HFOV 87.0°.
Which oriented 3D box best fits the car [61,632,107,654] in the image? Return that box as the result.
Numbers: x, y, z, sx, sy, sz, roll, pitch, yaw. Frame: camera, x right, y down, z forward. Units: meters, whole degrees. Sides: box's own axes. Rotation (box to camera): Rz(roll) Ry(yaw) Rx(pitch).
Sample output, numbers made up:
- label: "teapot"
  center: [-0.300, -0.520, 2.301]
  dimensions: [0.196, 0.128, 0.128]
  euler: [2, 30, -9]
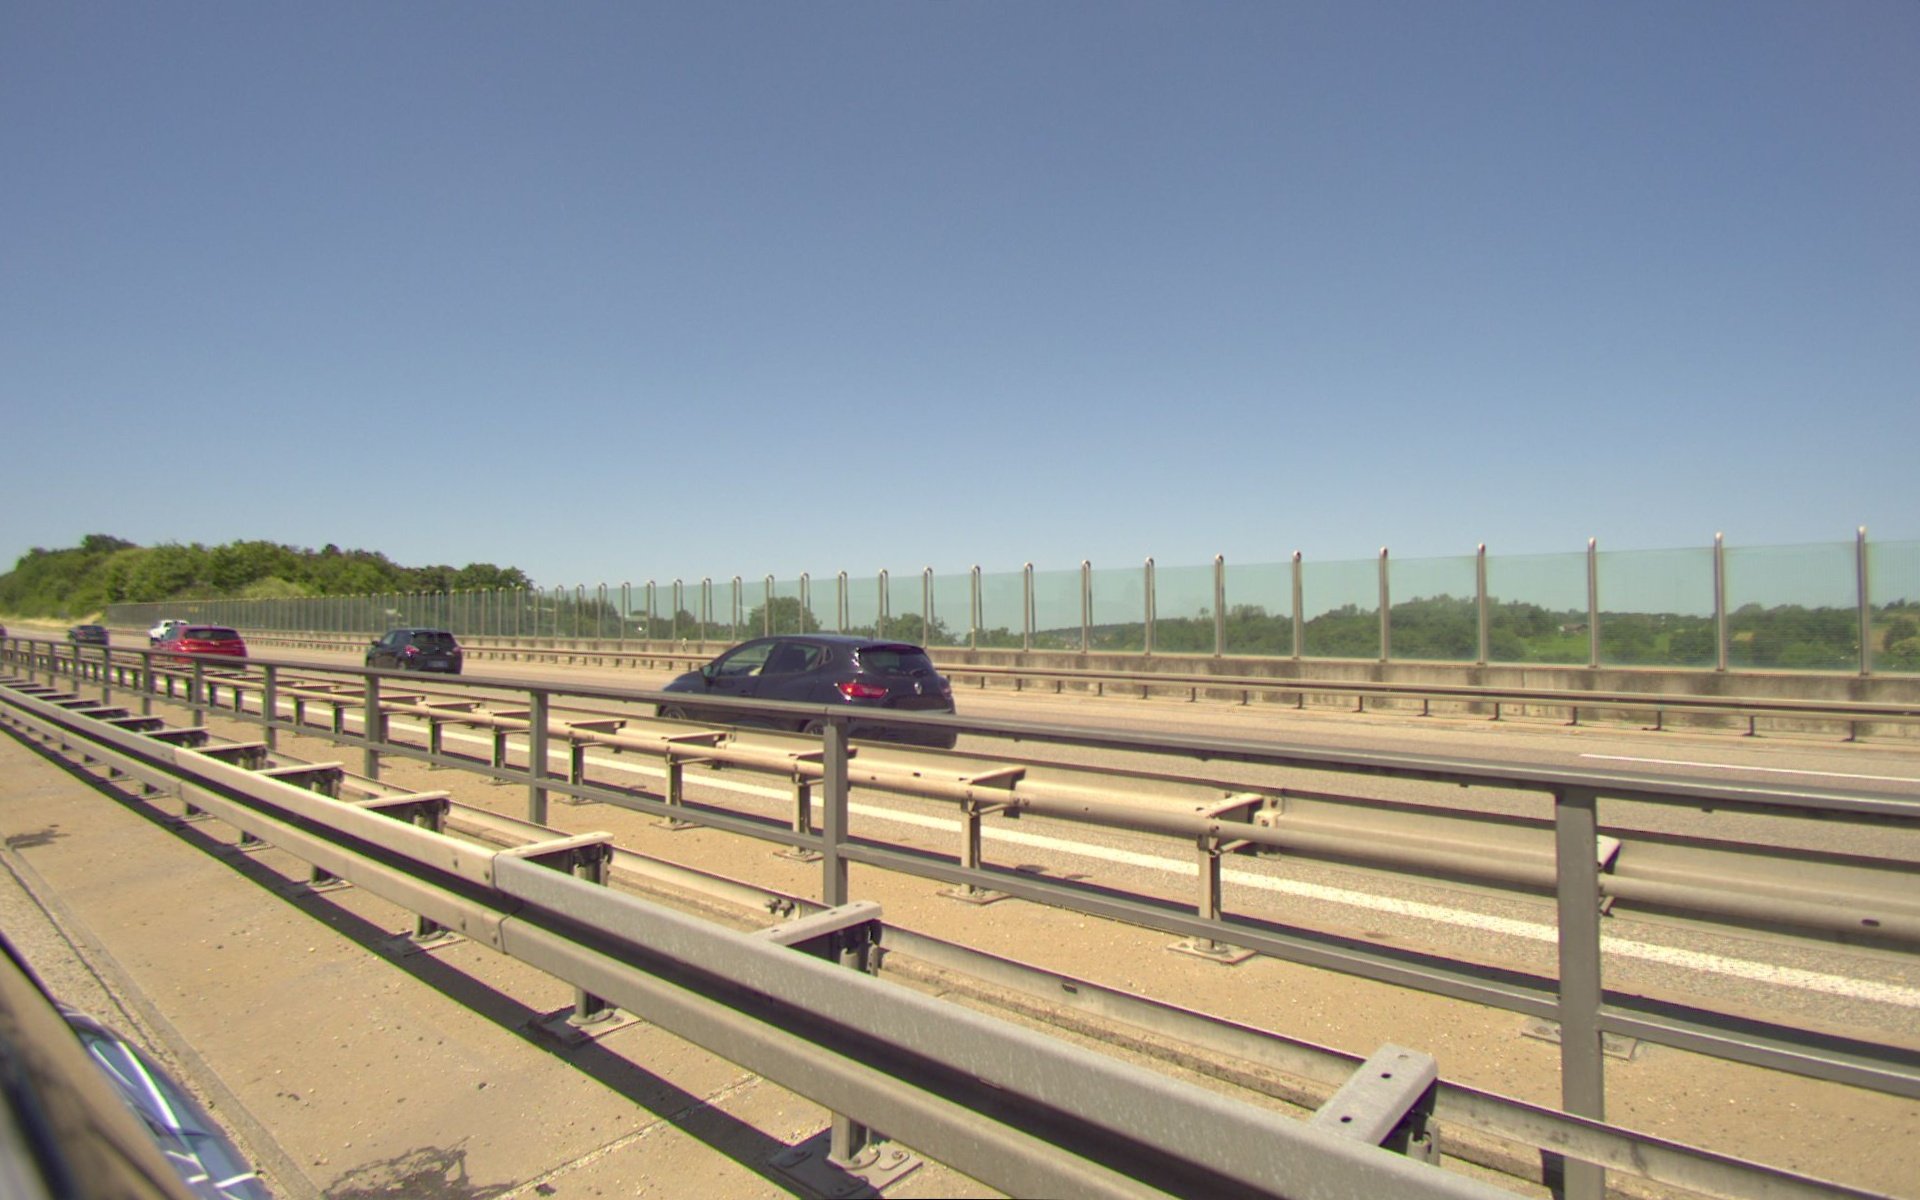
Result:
- label: "car"
  center: [-55.850, 2.740, 64.492]
  dimensions: [4.177, 1.360, 1.581]
  euler: [-2, -4, 41]

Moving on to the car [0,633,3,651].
- label: "car"
  center: [-71.959, 3.051, 74.591]
  dimensions: [4.339, 1.328, 1.581]
  euler: [-2, -4, 41]

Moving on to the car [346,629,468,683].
- label: "car"
  center: [-16.544, 1.634, 30.196]
  dimensions: [4.417, 1.503, 1.712]
  euler: [-2, -4, 41]

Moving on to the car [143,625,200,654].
- label: "car"
  center: [-53.484, 2.673, 68.619]
  dimensions: [5.252, 1.899, 1.973]
  euler: [-1, -4, 41]

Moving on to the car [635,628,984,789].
- label: "car"
  center: [-1.785, 1.085, 11.209]
  dimensions: [3.999, 1.459, 1.650]
  euler: [-2, -5, 42]

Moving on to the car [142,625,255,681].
- label: "car"
  center: [-22.180, 1.537, 29.428]
  dimensions: [3.987, 1.489, 1.772]
  euler: [-2, -5, 41]
